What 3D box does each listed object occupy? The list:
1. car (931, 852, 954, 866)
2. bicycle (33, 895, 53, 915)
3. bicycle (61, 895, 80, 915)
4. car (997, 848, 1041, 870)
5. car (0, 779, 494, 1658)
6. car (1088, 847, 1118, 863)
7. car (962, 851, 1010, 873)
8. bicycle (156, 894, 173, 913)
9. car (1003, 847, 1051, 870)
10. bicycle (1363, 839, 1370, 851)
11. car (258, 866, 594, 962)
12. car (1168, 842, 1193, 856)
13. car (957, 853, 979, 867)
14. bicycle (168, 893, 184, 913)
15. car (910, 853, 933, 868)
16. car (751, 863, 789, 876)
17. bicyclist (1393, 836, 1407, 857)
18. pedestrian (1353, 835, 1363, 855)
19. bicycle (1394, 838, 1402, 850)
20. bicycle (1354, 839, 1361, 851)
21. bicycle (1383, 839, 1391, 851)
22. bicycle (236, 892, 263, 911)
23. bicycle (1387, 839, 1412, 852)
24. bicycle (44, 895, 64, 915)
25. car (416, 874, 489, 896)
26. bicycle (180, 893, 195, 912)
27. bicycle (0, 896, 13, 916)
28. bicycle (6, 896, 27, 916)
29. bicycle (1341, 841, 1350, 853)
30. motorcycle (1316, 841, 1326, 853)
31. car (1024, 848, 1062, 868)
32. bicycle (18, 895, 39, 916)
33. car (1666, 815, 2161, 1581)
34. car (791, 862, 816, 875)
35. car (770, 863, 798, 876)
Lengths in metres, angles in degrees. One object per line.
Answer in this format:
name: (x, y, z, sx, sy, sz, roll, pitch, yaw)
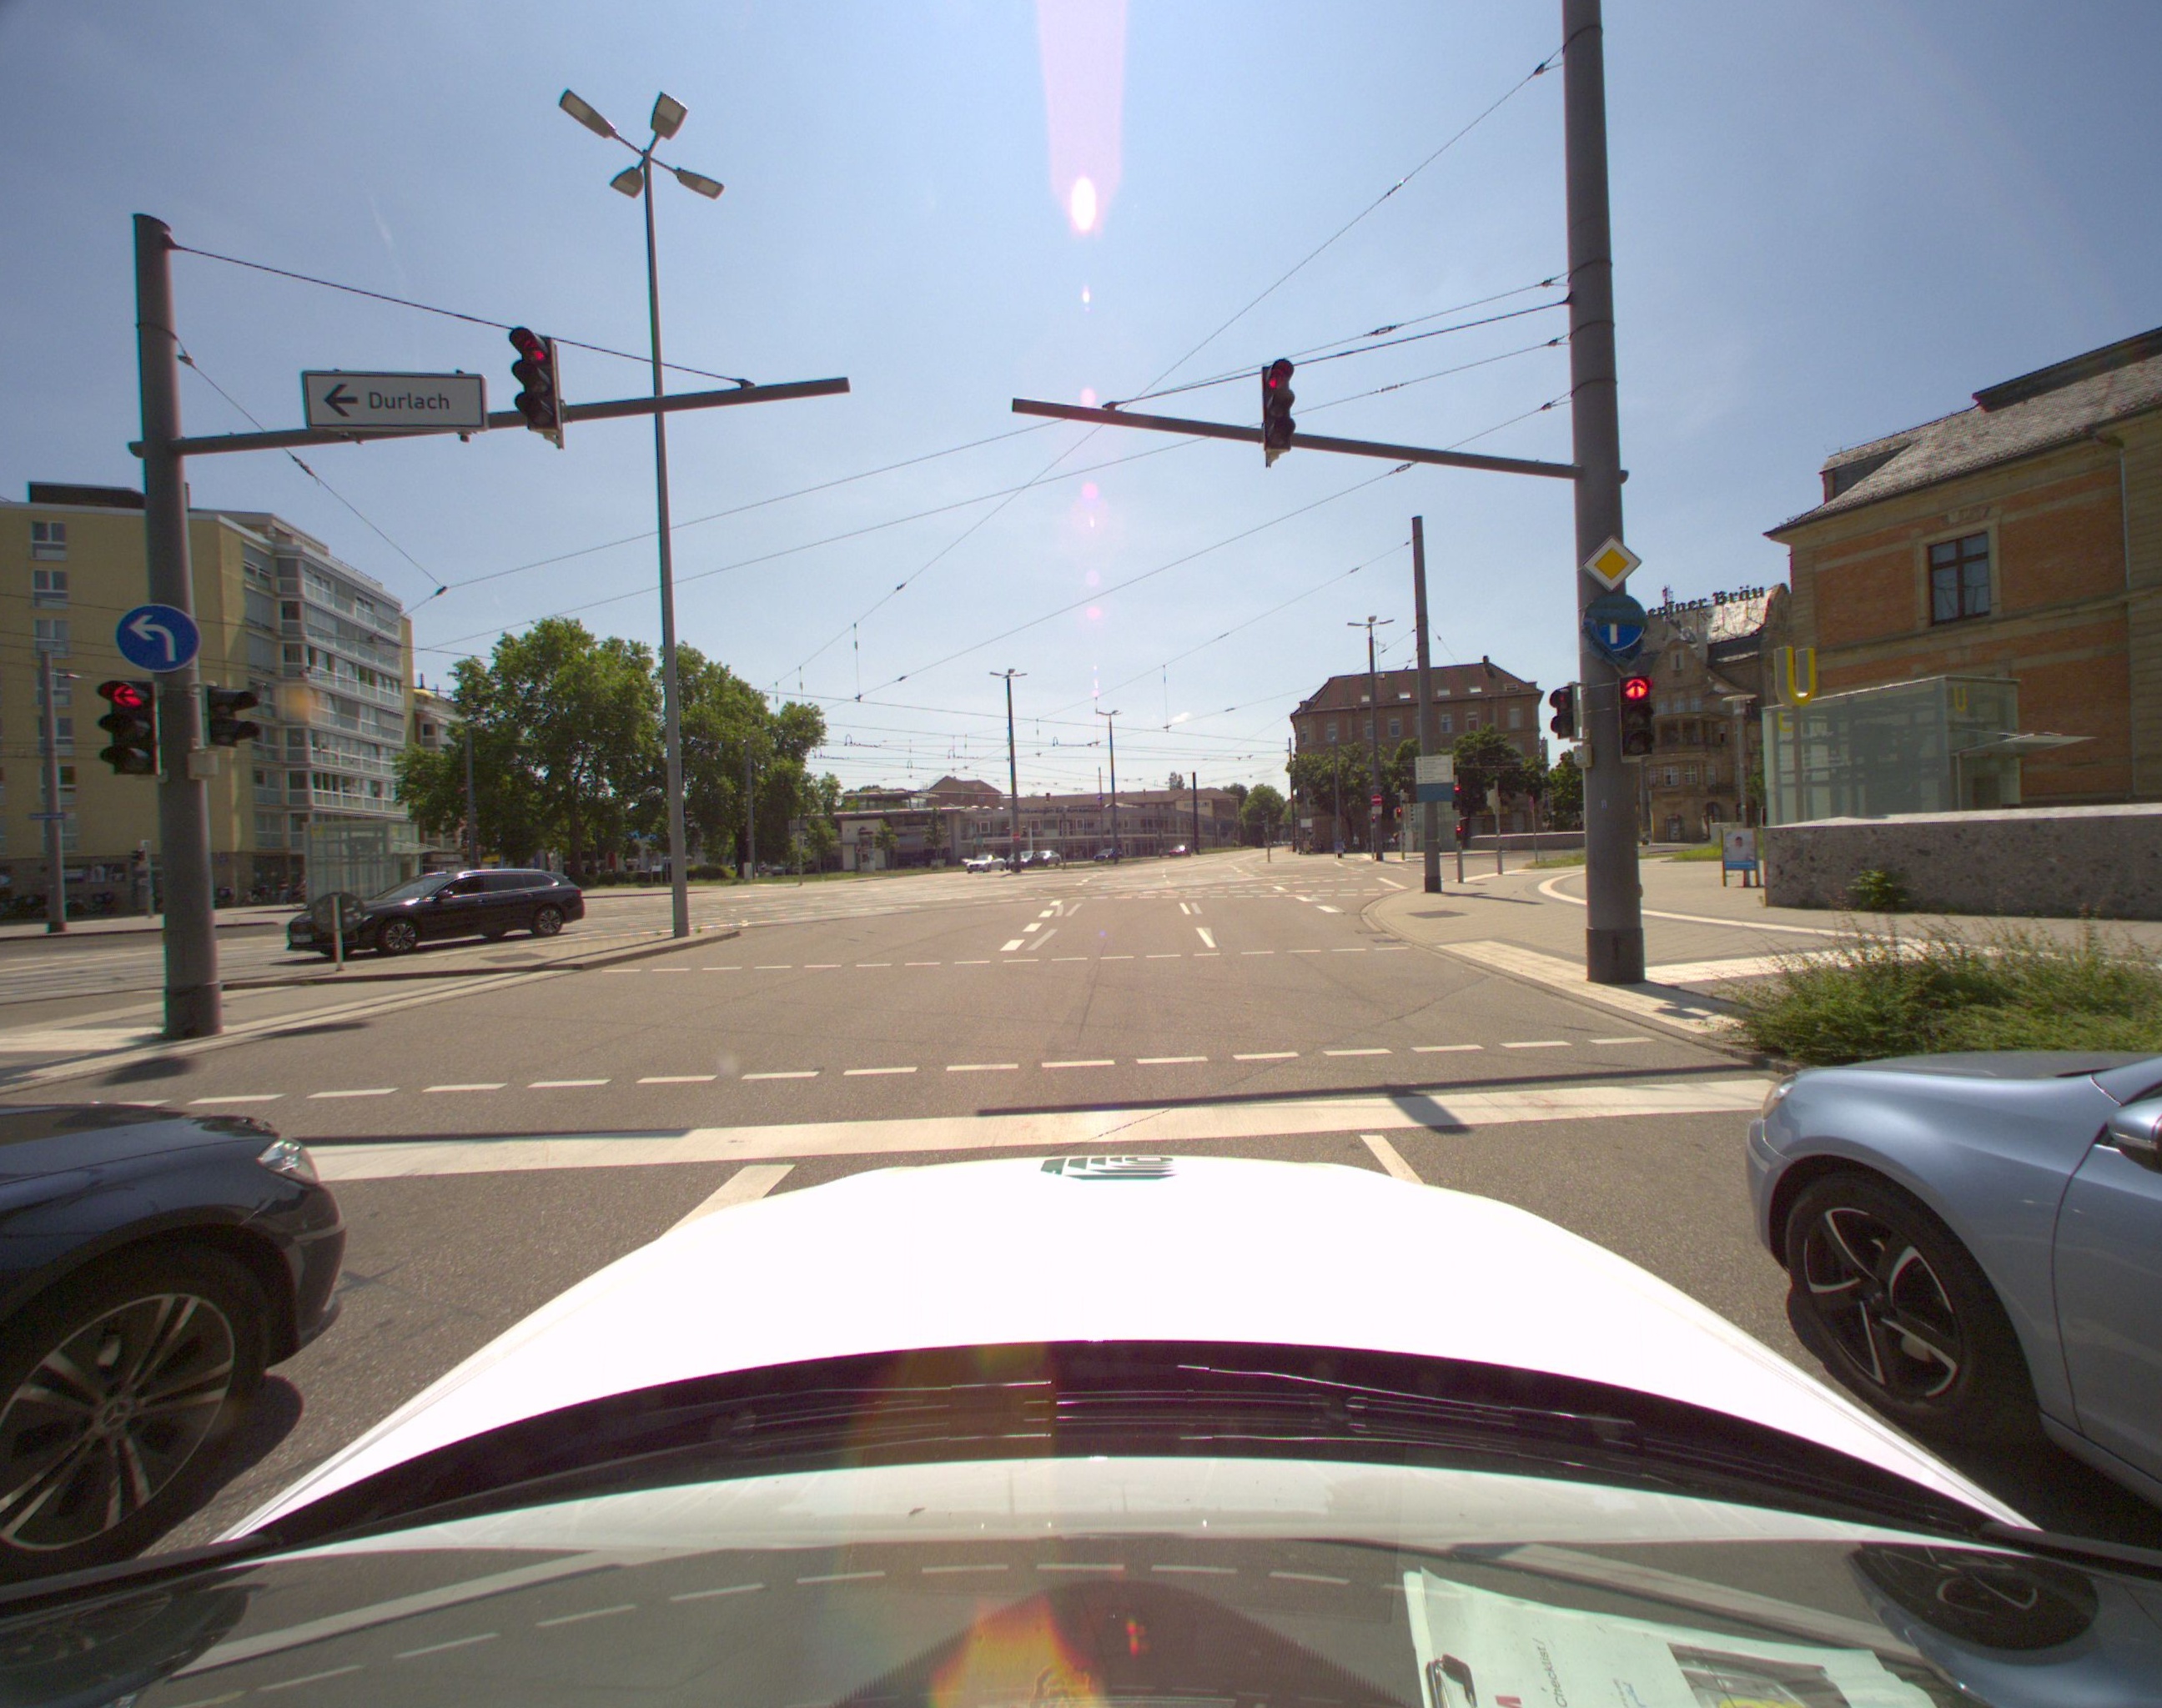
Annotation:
car: (-17.095, 0.589, 100.709, 1.913, 1.707, 4.002, 0, -1, 2)
bicycle: (-56.913, 2.800, 44.666, 0.435, 1.026, 1.426, -2, 0, -42)
bicycle: (-55.909, 2.797, 45.060, 0.435, 1.026, 1.426, -2, 0, -42)
car: (-5.324, 0.404, 70.698, 1.977, 1.700, 4.870, -2, 0, 19)
car: (-2.975, 0.697, 0.342, 1.790, 1.640, 4.808, -1, 0, 2)
car: (2.532, 0.073, 93.234, 2.061, 1.682, 4.870, -2, 0, 19)
car: (-7.476, 0.619, 64.606, 2.061, 1.580, 4.866, -2, 0, 15)
bicycle: (-51.687, 2.774, 45.940, 0.435, 1.026, 1.426, -2, 0, -42)
car: (-4.234, 0.341, 64.841, 1.977, 1.637, 4.870, -2, 0, 19)
bicycle: (27.354, -0.859, 77.990, 0.546, 1.120, 1.829, -2, 0, 18)
car: (-12.677, 1.073, 16.265, 1.977, 1.465, 4.870, -2, 0, 19)
car: (13.618, -0.670, 111.564, 1.974, 1.776, 4.025, -1, -1, 30)
car: (-13.972, 0.763, 100.739, 1.913, 1.707, 4.002, 0, -1, 2)
bicycle: (-51.222, 2.772, 46.109, 0.435, 1.026, 1.426, -2, 0, -42)
car: (-19.740, 0.806, 100.736, 1.913, 1.707, 4.002, 0, -1, 2)
car: (-41.350, 2.008, 108.351, 4.343, 1.510, 1.754, -3, 0, -33)
bicyclist: (27.884, -0.642, 71.176, 1.065, 1.808, 0.475, 0, -1, -23)
pedestrian: (24.188, -0.764, 71.223, 0.463, 1.708, 0.635, -2, 0, -23)
bicycle: (30.476, -0.932, 78.215, 0.546, 1.120, 1.938, -2, 0, 18)
bicycle: (26.572, -0.832, 78.340, 0.546, 1.120, 1.829, -2, 0, 20)
bicycle: (29.476, -0.911, 78.420, 0.546, 1.120, 1.879, -2, 0, 18)
bicycle: (-49.273, 2.778, 48.272, 0.432, 1.026, 1.437, -2, 0, -14)
bicycle: (27.801, -0.765, 71.140, 2.115, 1.052, 0.687, -2, 0, -23)
bicycle: (-56.407, 2.797, 44.740, 0.435, 1.026, 1.426, -2, 0, -42)
car: (-48.876, 2.391, 63.458, 4.000, 1.420, 1.987, -2, 0, -20)
bicycle: (-50.800, 2.771, 46.297, 0.435, 1.026, 1.426, -2, 0, -42)
bicycle: (-58.456, 2.806, 44.120, 0.435, 1.026, 1.426, -2, 0, -42)
bicycle: (-57.856, 2.803, 44.271, 0.435, 1.026, 1.426, -2, 0, -42)
bicycle: (25.709, -0.672, 79.140, 0.440, 1.146, 2.099, -1, -1, 9)
motorcycle: (23.236, -0.679, 78.774, 0.577, 1.074, 1.949, -2, 0, 6)
car: (-3.516, 0.380, 76.603, 1.977, 1.739, 4.565, -2, 0, 19)
bicycle: (-57.401, 2.802, 44.430, 0.435, 1.026, 1.426, -2, 0, -42)
car: (2.858, 0.647, 0.876, 1.645, 1.459, 4.004, -1, 0, 1)
car: (-34.798, 1.769, 102.296, 1.763, 1.510, 4.322, -2, 0, -3)
car: (-37.511, 1.911, 102.863, 1.760, 1.510, 4.330, -2, 0, 3)
